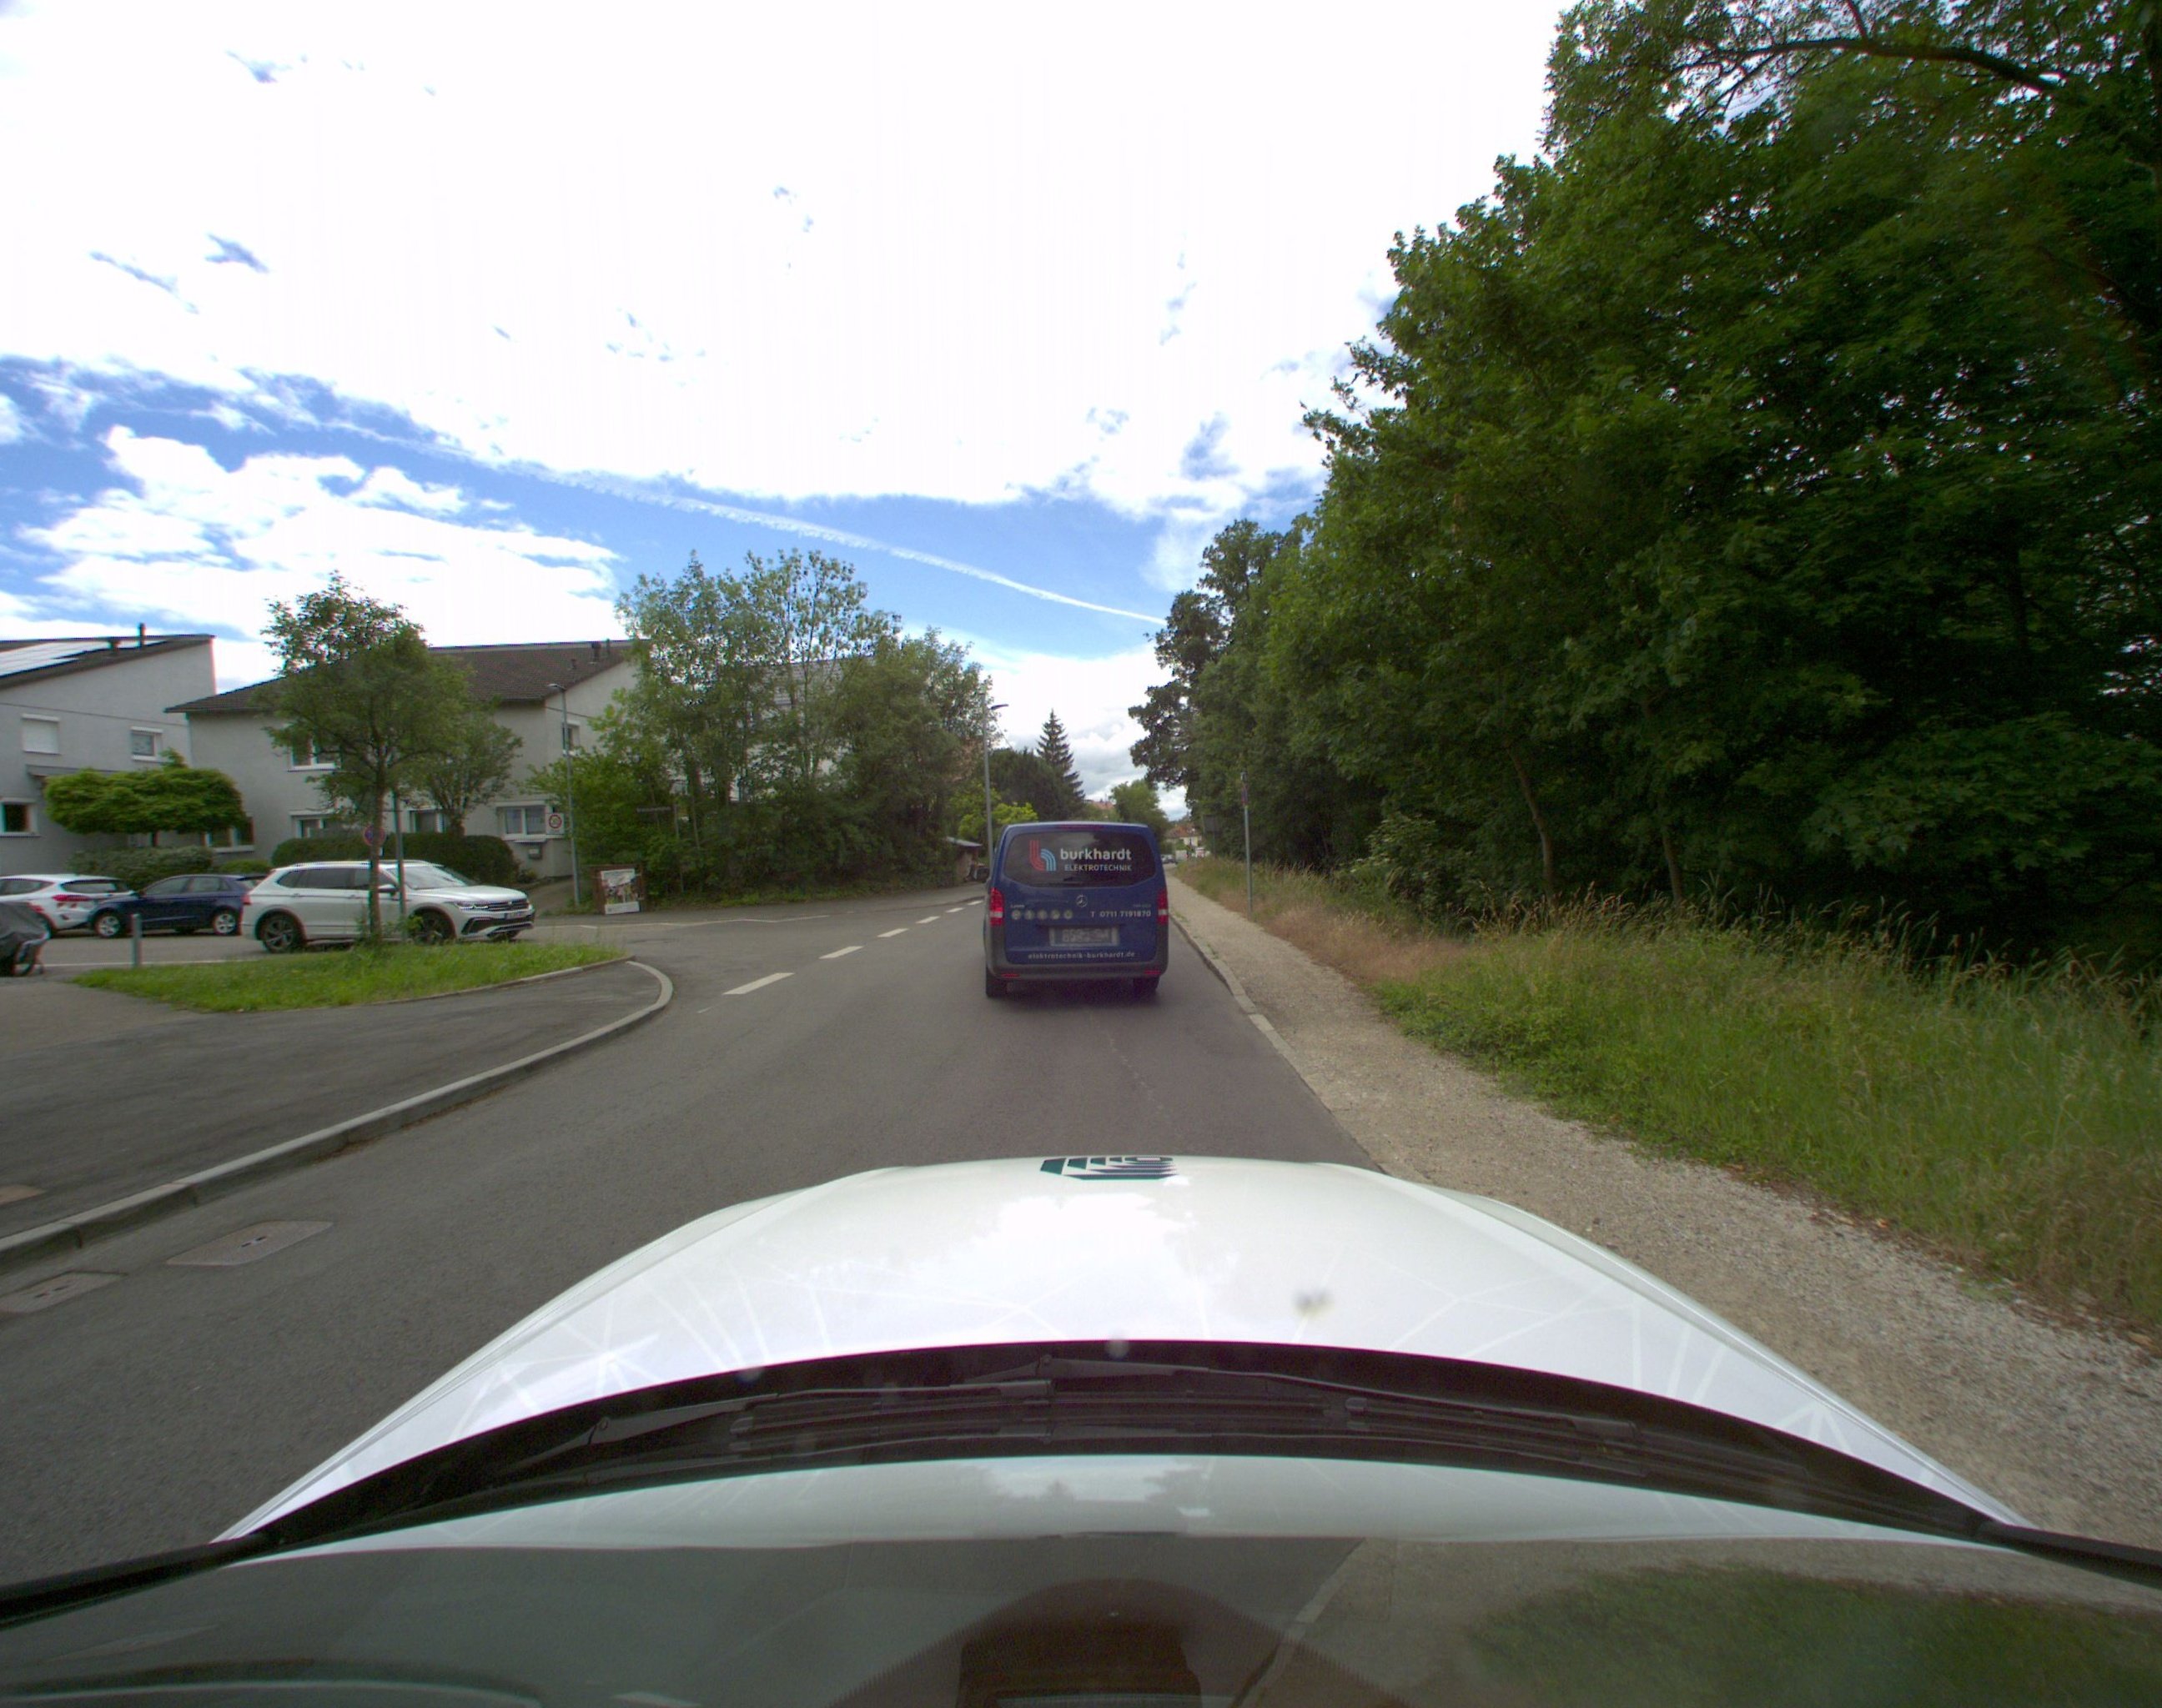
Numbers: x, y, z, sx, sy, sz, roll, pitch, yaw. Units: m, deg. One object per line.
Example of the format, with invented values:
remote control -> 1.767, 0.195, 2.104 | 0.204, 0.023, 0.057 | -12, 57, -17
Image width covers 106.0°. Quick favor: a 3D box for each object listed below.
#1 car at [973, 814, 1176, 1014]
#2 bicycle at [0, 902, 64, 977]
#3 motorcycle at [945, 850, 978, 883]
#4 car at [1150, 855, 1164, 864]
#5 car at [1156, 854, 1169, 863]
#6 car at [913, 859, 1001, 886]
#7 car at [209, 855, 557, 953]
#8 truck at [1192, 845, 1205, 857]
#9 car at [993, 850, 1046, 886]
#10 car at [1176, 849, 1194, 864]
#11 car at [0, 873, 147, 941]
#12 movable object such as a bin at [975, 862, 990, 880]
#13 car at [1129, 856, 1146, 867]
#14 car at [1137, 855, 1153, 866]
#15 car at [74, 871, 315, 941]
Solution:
car -> -0.260, 0.542, 10.078 | 1.934, 1.880, 4.522 | -1, 1, -6
bicycle -> -16.685, 1.303, 12.785 | 2.551, 1.001, 0.657 | -1, 0, 33
motorcycle -> -5.594, 0.555, 38.408 | 0.805, 1.485, 2.901 | -1, 0, 6
car -> 11.397, 0.813, 122.553 | 1.738, 1.404, 4.011 | -1, 0, 10
car -> 13.154, 0.711, 131.790 | 1.738, 1.404, 4.011 | -1, 0, 10
car -> -6.853, 1.026, 45.370 | 4.457, 1.441, 1.882 | -1, 0, 7
car -> -13.160, 0.900, 15.599 | 4.917, 1.670, 2.038 | -1, 0, 1
truck -> 28.883, -0.689, 199.794 | 2.746, 2.793, 9.295 | -1, 0, 10
car -> -2.648, 0.571, 35.969 | 1.698, 1.467, 4.080 | -1, 0, 4
car -> 14.836, 0.361, 115.941 | 2.193, 2.063, 6.151 | -1, 0, 9
car -> -24.385, 1.215, 18.811 | 3.772, 1.412, 1.530 | -1, 0, -1
movable object such as a bin -> -4.898, 0.845, 40.495 | 0.587, 0.909, 0.702 | -1, 0, 10
car -> 7.205, 0.920, 103.767 | 1.738, 1.404, 4.011 | -1, 0, 10
car -> 8.679, 0.891, 109.822 | 1.738, 1.404, 4.011 | -1, 0, 10
car -> -20.302, 1.155, 18.777 | 3.533, 1.412, 1.669 | -1, 0, -4
